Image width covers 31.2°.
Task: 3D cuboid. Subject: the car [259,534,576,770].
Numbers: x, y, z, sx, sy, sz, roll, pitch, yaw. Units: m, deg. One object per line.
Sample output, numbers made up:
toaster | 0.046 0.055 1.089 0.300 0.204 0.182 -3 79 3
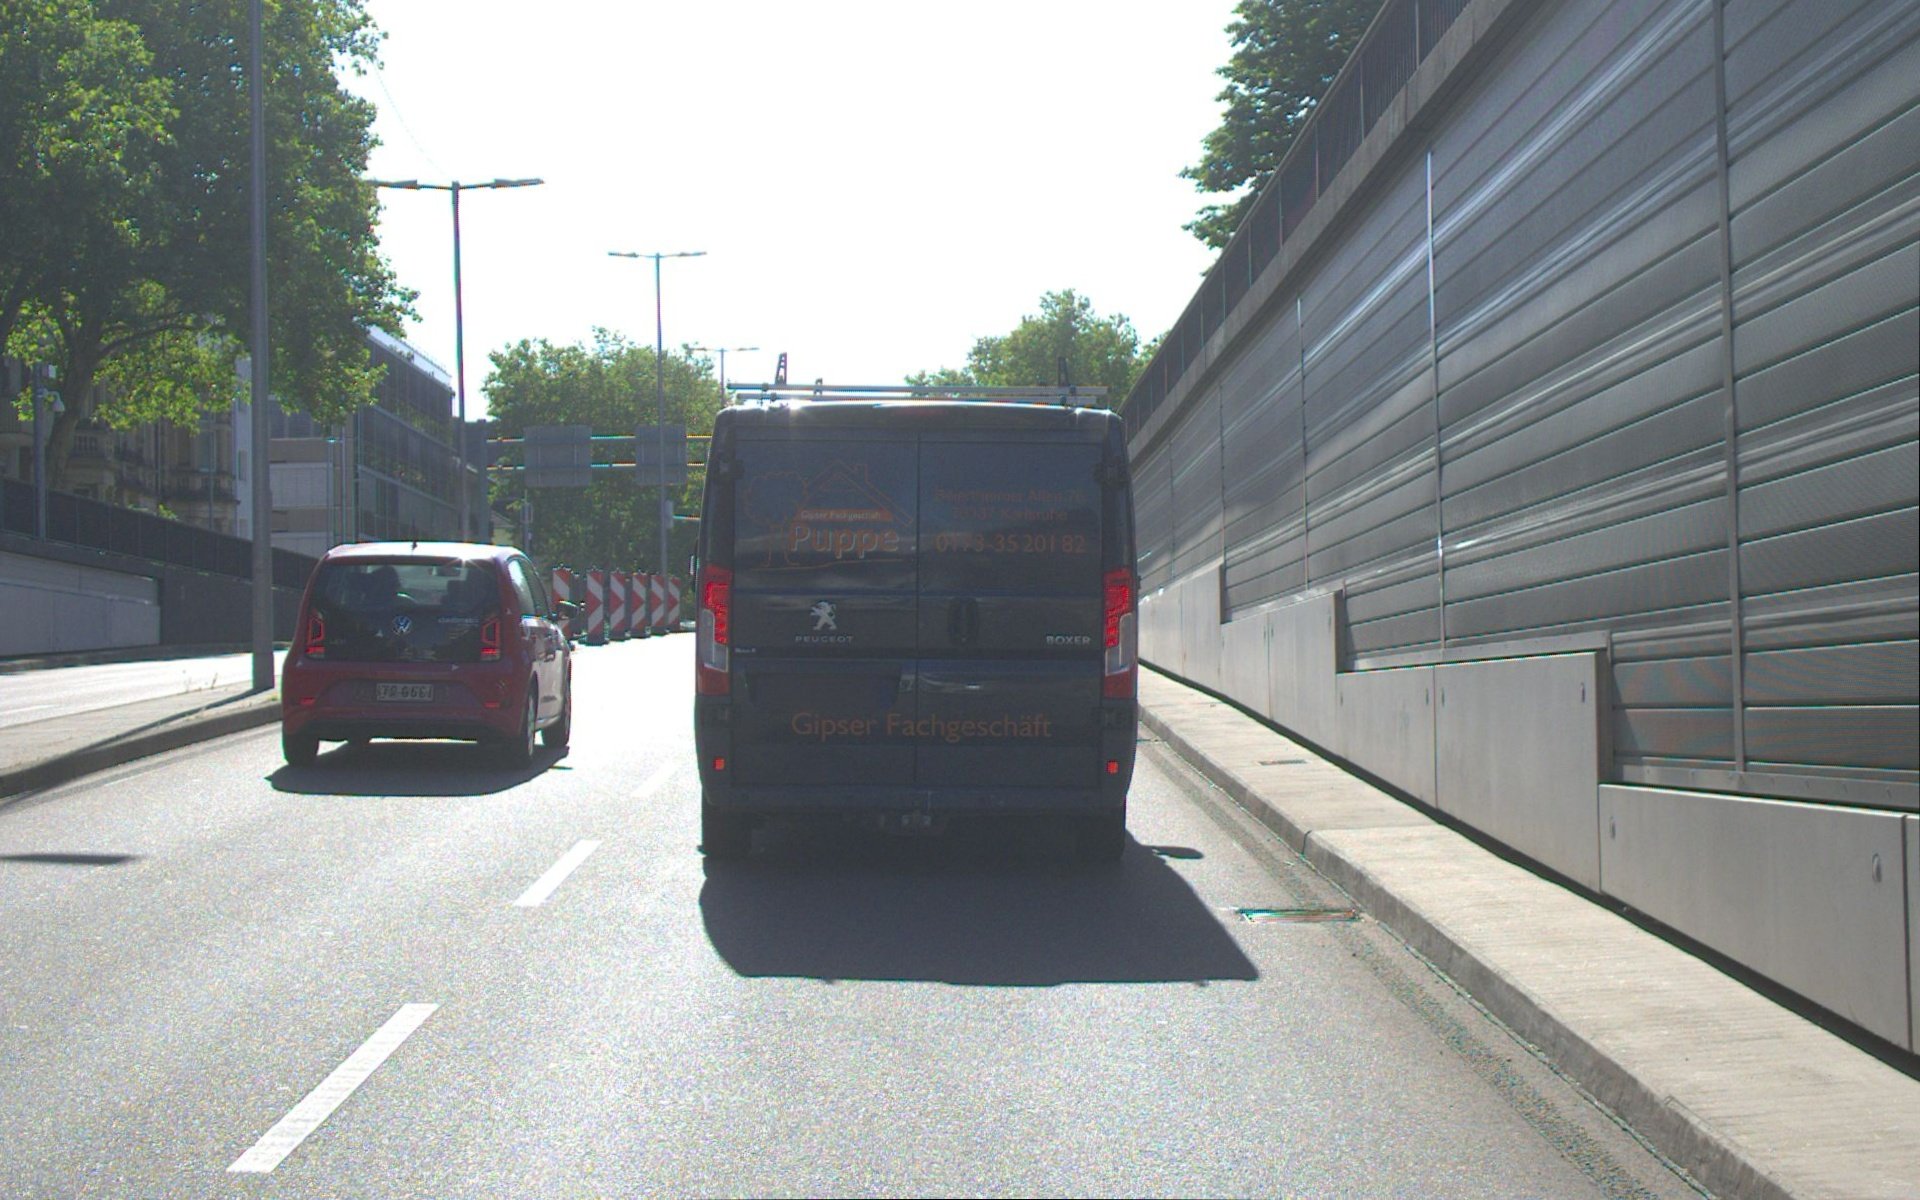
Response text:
car | -3.624 0.301 23.438 1.689 1.478 3.319 1 1 -1

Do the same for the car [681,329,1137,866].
car | -0.249 -0.015 17.347 2.030 2.394 3.973 0 0 -1
